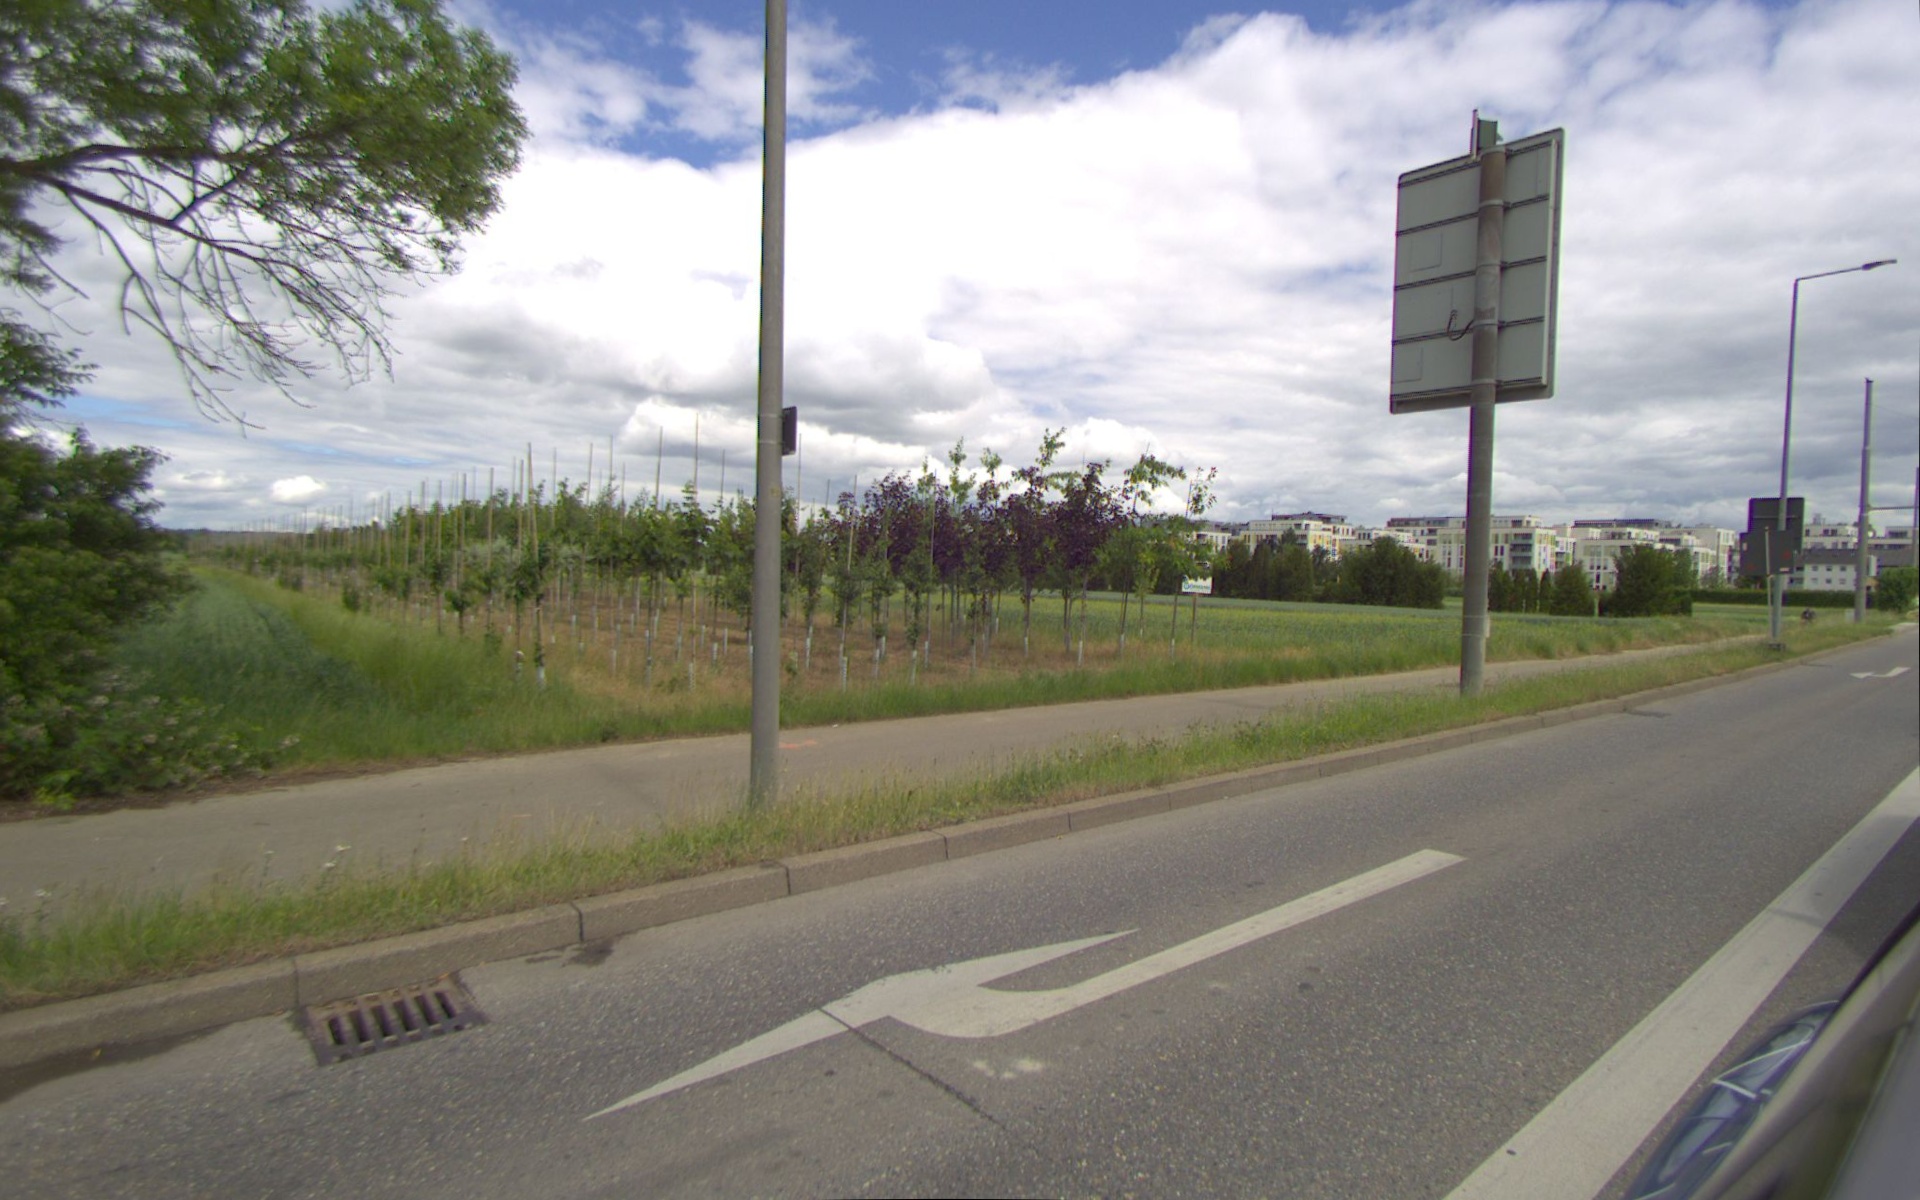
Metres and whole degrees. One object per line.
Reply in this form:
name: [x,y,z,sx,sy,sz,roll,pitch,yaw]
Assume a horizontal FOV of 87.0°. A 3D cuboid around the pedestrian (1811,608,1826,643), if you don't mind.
pedestrian: [43.134,1.290,50.829,0.615,1.724,0.492,0,0,-42]
